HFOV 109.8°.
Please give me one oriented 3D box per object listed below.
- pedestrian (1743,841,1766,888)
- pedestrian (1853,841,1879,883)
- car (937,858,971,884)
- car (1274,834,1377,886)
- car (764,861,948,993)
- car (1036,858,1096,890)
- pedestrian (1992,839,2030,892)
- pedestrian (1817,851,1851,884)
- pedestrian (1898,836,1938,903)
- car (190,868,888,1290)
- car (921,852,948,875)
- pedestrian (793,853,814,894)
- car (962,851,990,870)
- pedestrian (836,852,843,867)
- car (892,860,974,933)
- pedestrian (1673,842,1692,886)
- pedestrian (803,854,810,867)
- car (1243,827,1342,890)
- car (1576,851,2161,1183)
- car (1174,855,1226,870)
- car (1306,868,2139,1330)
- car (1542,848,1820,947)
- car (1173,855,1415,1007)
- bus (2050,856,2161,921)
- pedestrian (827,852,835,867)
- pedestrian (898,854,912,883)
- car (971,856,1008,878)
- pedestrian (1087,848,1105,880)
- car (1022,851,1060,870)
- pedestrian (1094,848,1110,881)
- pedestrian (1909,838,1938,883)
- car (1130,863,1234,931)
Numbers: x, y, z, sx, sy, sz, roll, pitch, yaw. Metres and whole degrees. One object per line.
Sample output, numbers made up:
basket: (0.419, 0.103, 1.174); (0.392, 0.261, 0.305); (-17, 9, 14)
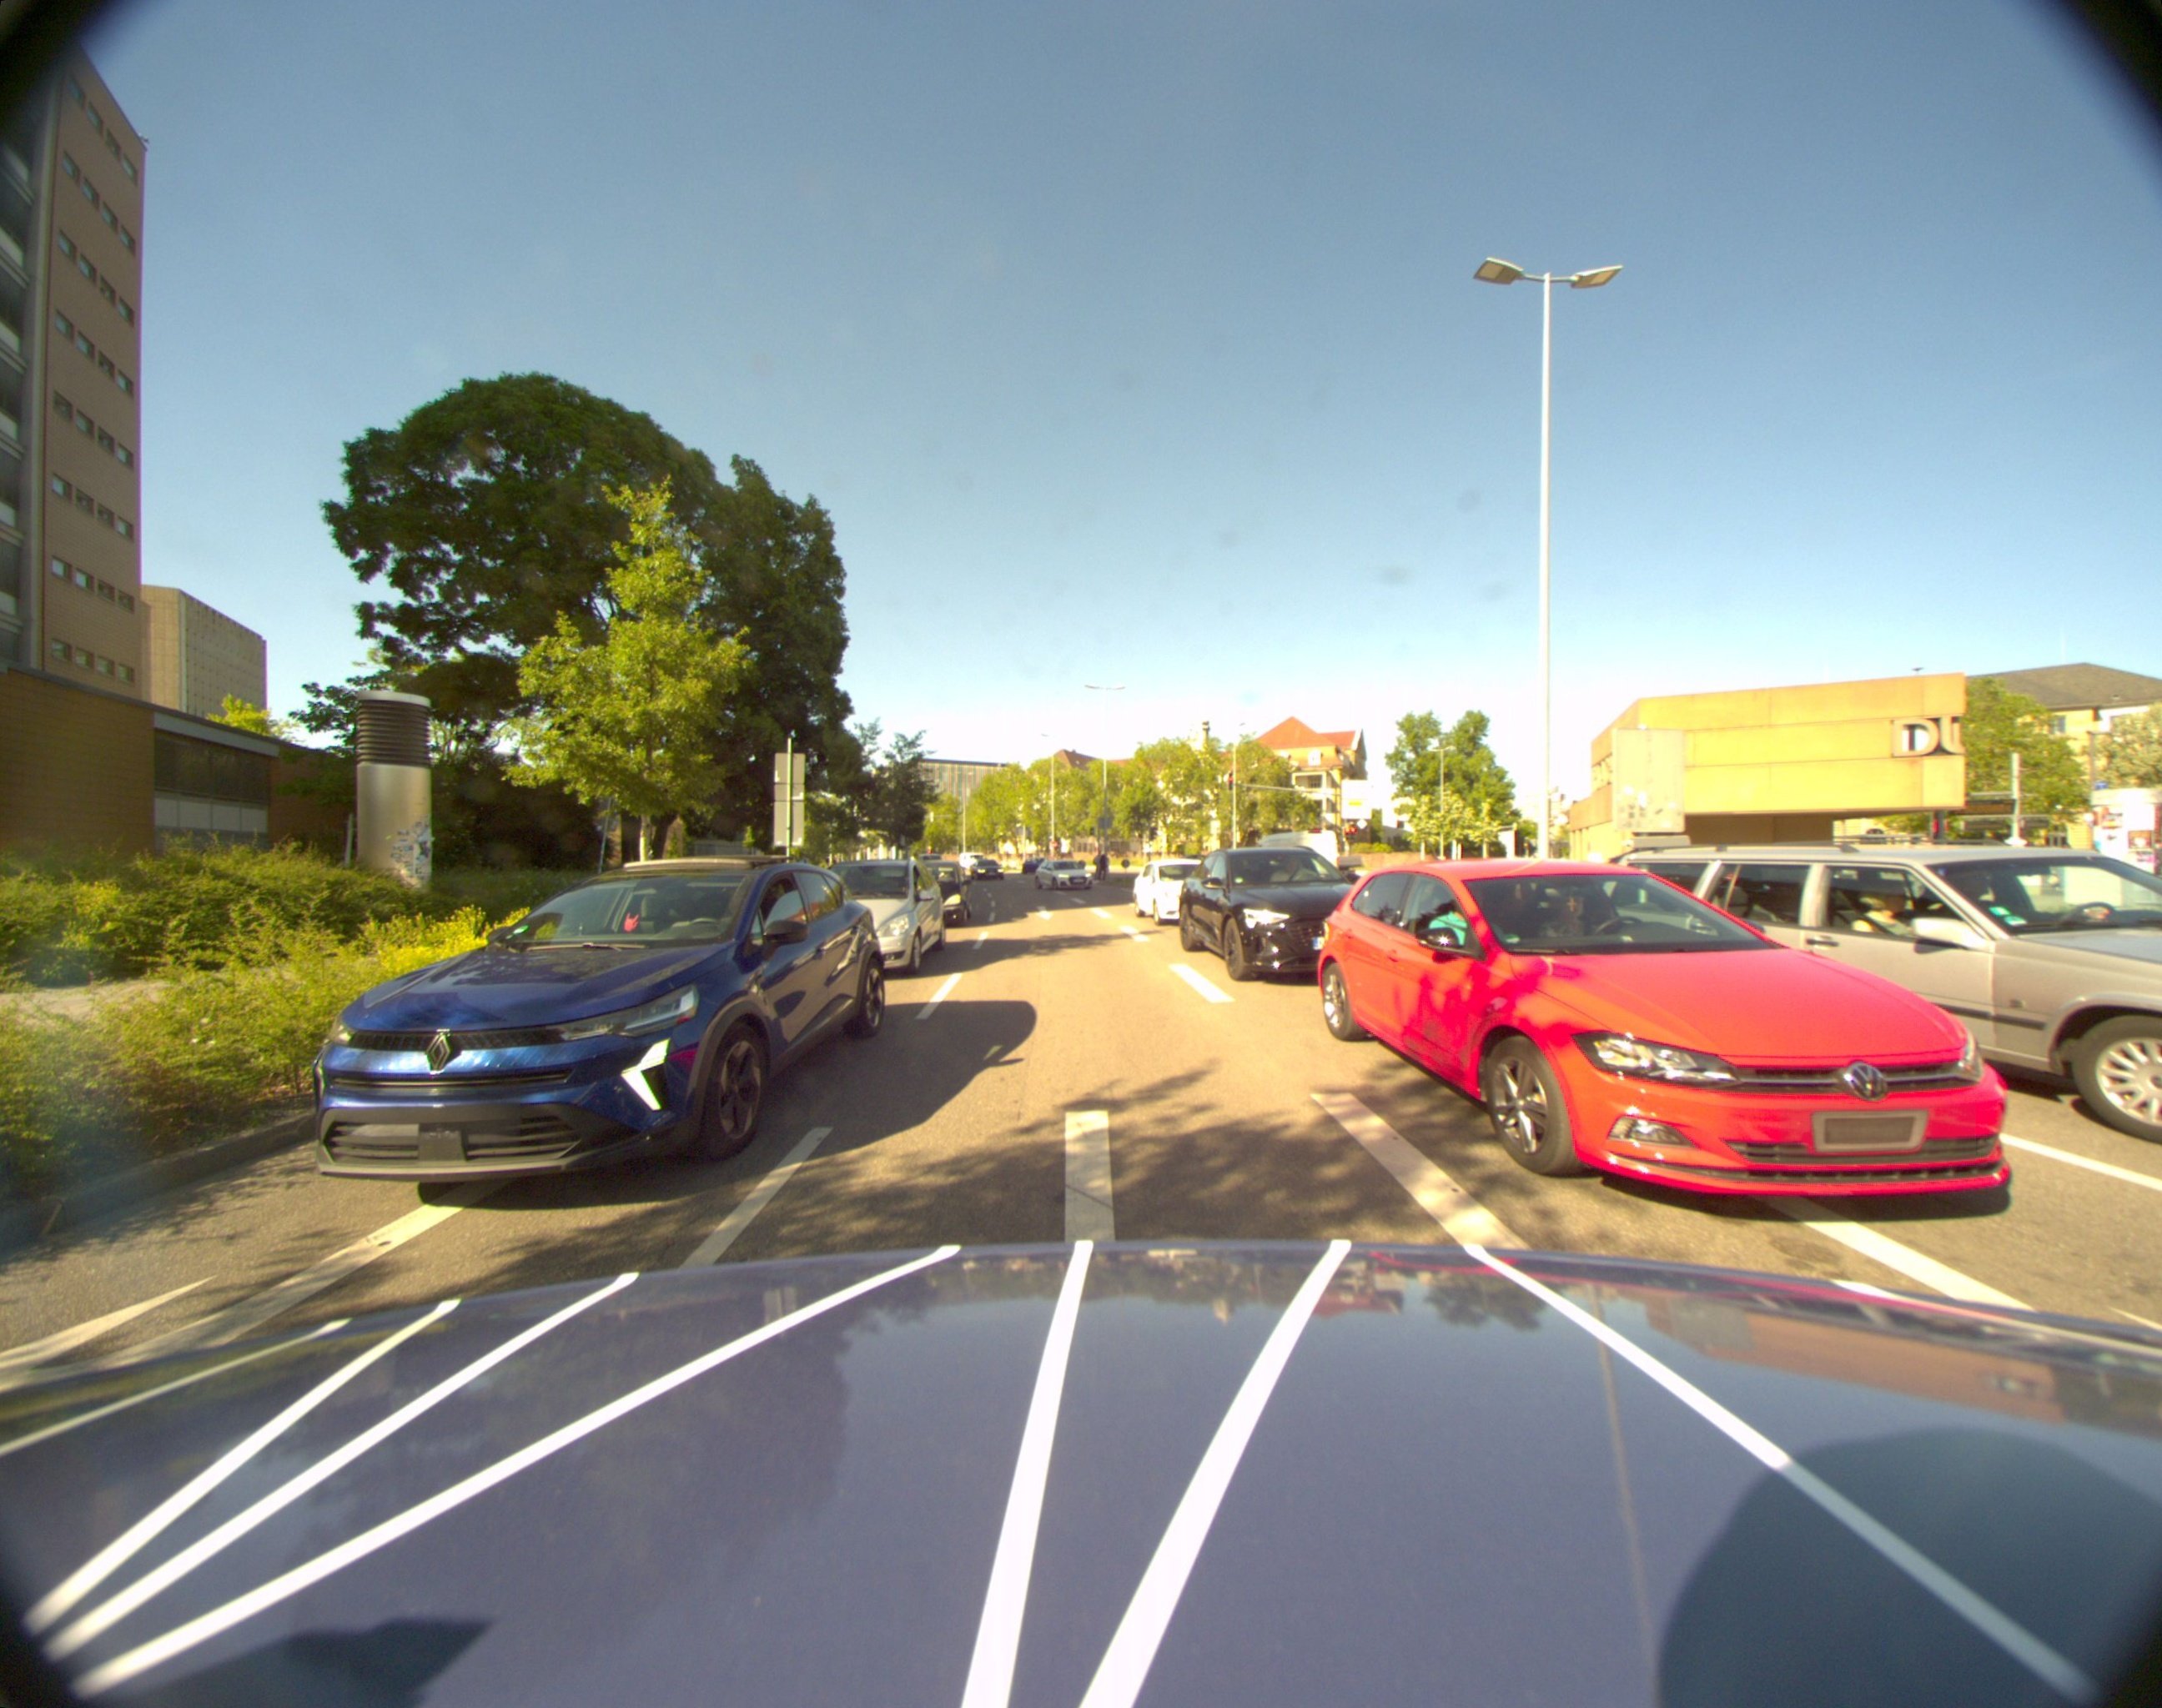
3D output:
pedestrian: (25.573, 0.382, 28.859); (0.644, 1.766, 0.618); (0, 1, 42)
pedestrian: (33.161, 0.335, 32.091); (0.645, 1.766, 0.468); (-1, 1, -4)
car: (-7.902, 1.007, 47.204); (1.753, 1.467, 3.569); (-2, 1, -14)
car: (11.647, 0.278, 36.812); (2.117, 2.300, 6.209); (-1, 0, -10)
car: (-3.178, 0.937, 11.580); (1.786, 1.615, 4.042); (0, 0, -3)
car: (-0.765, 0.915, 36.215); (1.754, 1.370, 3.568); (-1, 0, -20)
pedestrian: (31.373, 0.401, 25.638); (0.644, 1.766, 0.469); (0, 1, 21)
pedestrian: (30.141, 0.539, 30.411); (0.645, 1.303, 0.763); (-1, 0, 10)
pedestrian: (22.805, 0.426, 20.693); (0.647, 1.778, 0.666); (-3, 1, -38)
car: (-2.680, 0.937, 5.080); (1.705, 1.596, 4.084); (-1, 0, 0)
car: (-12.136, 0.746, 62.880); (1.829, 1.842, 3.747); (0, 0, -16)
pedestrian: (-10.999, 0.766, 30.091); (0.693, 1.594, 0.661); (0, 0, -14)
car: (-11.439, 0.660, 82.594); (1.790, 2.002, 4.223); (-2, 1, -26)
pedestrian: (-30.797, 0.695, 96.917); (0.822, 1.906, 0.770); (-2, 1, -21)
car: (-3.570, 0.968, 18.815); (1.651, 1.601, 3.487); (0, 0, -6)
pedestrian: (24.015, 0.394, 30.344); (0.467, 1.766, 0.647); (0, 1, 29)
pedestrian: (-42.878, 1.021, 118.549); (0.823, 1.906, 0.770); (-2, 1, -26)
car: (8.926, 0.183, 32.650); (2.000, 2.493, 5.414); (0, 0, -9)
car: (5.756, 0.765, 4.993); (1.713, 1.464, 4.751); (-3, -1, -2)
car: (9.552, 0.664, 61.118); (3.996, 1.197, 1.585); (0, 0, 2)
car: (2.787, 0.874, 4.538); (1.674, 1.464, 3.853); (-2, 0, -1)
car: (11.440, 0.729, 14.912); (1.870, 1.649, 4.069); (0, 0, -10)
car: (2.563, 0.820, 10.371); (1.859, 1.606, 4.452); (0, 0, -3)
bus: (21.615, 0.663, 14.144); (1.646, 1.234, 4.181); (0, 0, -5)
pedestrian: (-31.803, 0.733, 96.670); (0.822, 1.906, 0.770); (-2, 1, -21)
pedestrian: (-9.701, 0.813, 41.938); (0.662, 1.594, 0.692); (0, 0, -20)
car: (-6.464, 0.896, 53.523); (1.883, 1.472, 3.994); (-2, 0, -17)
pedestrian: (0.859, 0.586, 44.622); (0.887, 1.814, 0.776); (-2, 1, -7)
car: (-3.505, 0.548, 65.907); (3.063, 1.596, 1.599); (0, 2, 43)
pedestrian: (1.193, 0.606, 43.279); (0.756, 1.814, 0.776); (-2, 1, -5)
pedestrian: (33.082, 0.249, 29.832); (0.645, 1.766, 0.468); (-1, 1, -4)
car: (2.254, 0.918, 17.808); (1.575, 1.410, 3.711); (0, 0, -6)
